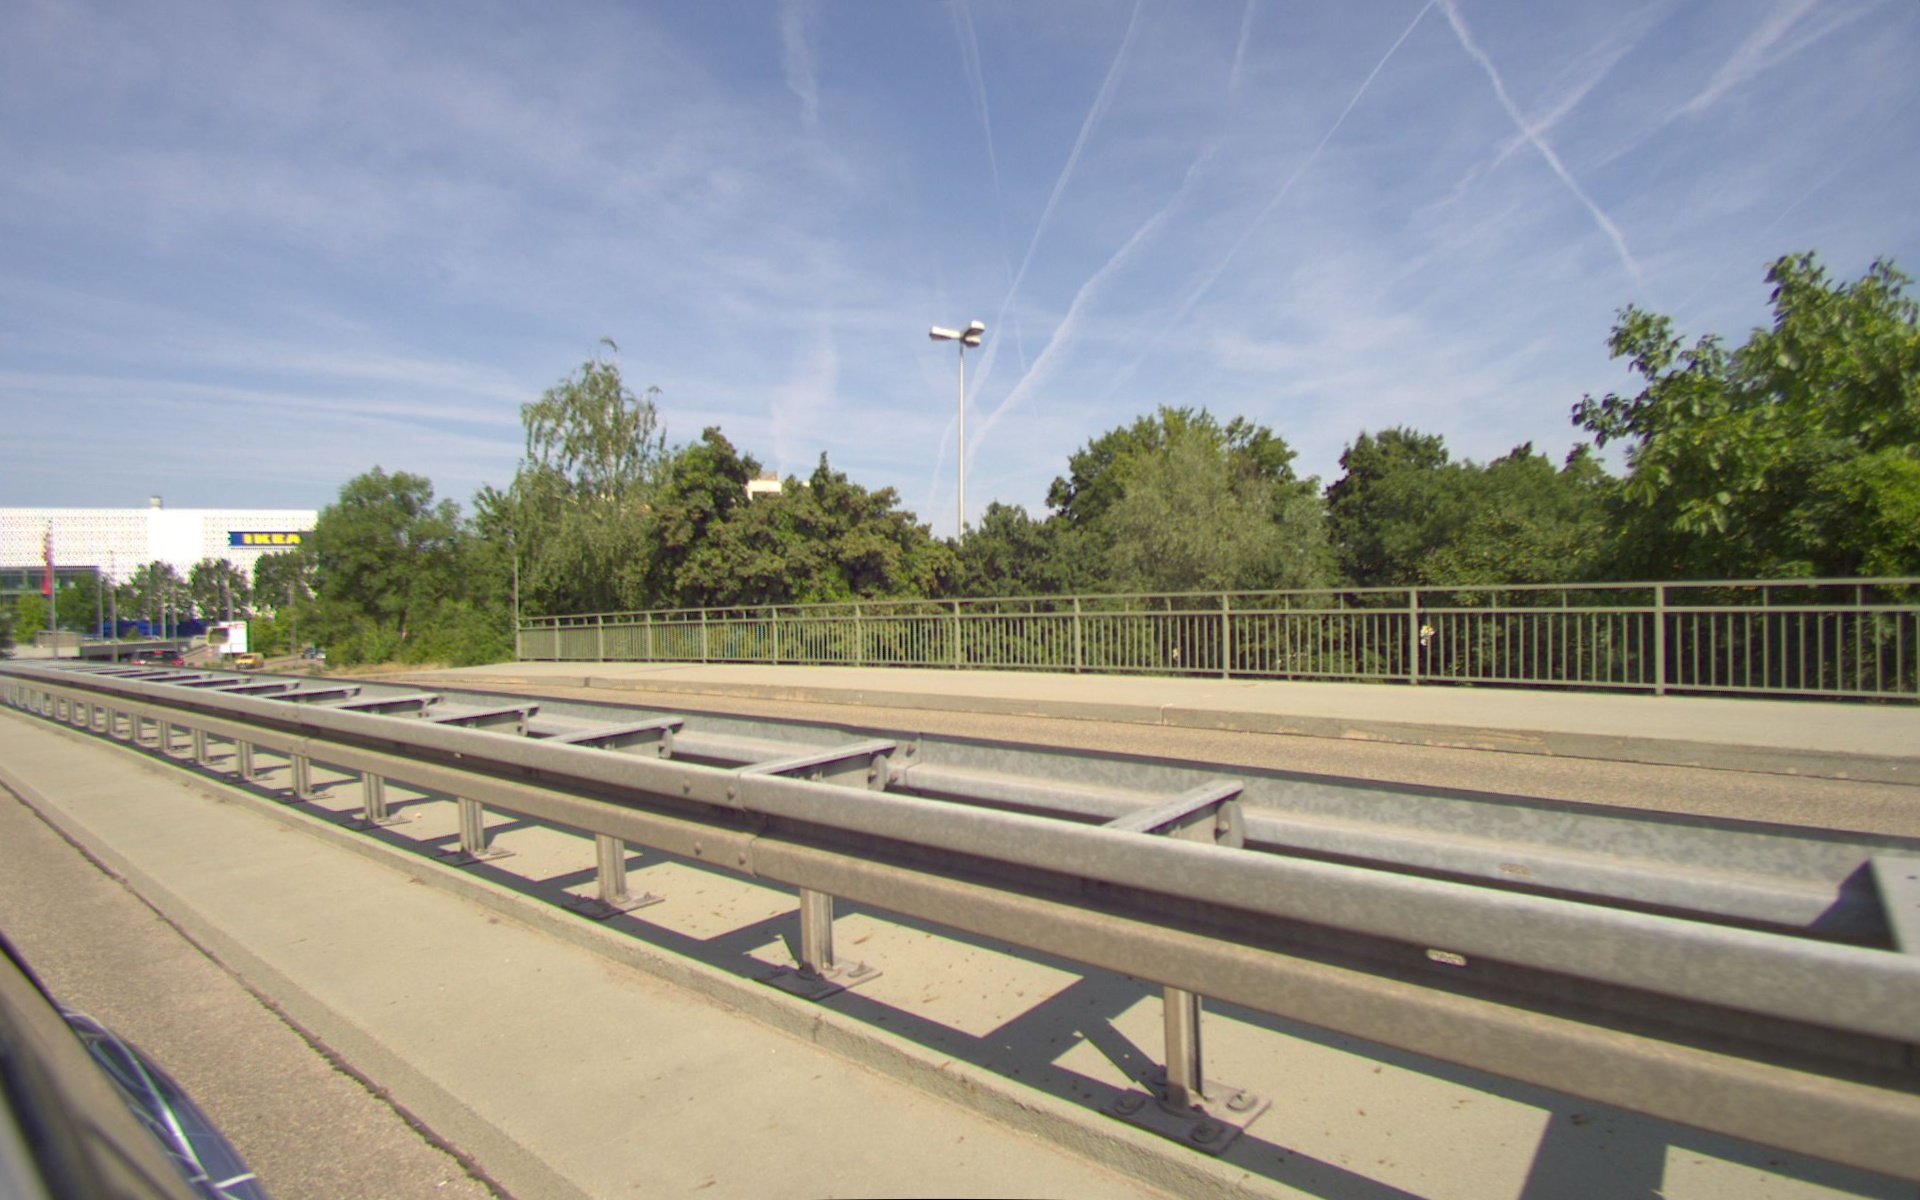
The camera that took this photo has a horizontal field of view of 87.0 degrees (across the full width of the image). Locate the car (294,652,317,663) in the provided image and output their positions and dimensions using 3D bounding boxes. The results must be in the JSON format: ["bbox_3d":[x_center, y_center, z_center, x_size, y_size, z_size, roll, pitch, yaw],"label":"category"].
[{"bbox_3d":[-99.426,8.717,153.790,1.796,1.485,4.012,-1,0,-16],"label":"car"}]

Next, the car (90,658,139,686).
[{"bbox_3d":[-49.242,4.187,58.912,4.001,1.563,1.776,-3,-4,45],"label":"car"}]

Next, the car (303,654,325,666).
[{"bbox_3d":[-95.278,8.842,149.247,1.795,1.485,4.013,-1,0,-19],"label":"car"}]

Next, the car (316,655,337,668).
[{"bbox_3d":[-85.217,8.278,136.157,1.833,1.541,4.150,0,-1,-41],"label":"car"}]

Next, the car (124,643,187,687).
[{"bbox_3d":[-33.799,2.742,42.472,1.859,1.648,4.230,0,-4,-41],"label":"car"}]
